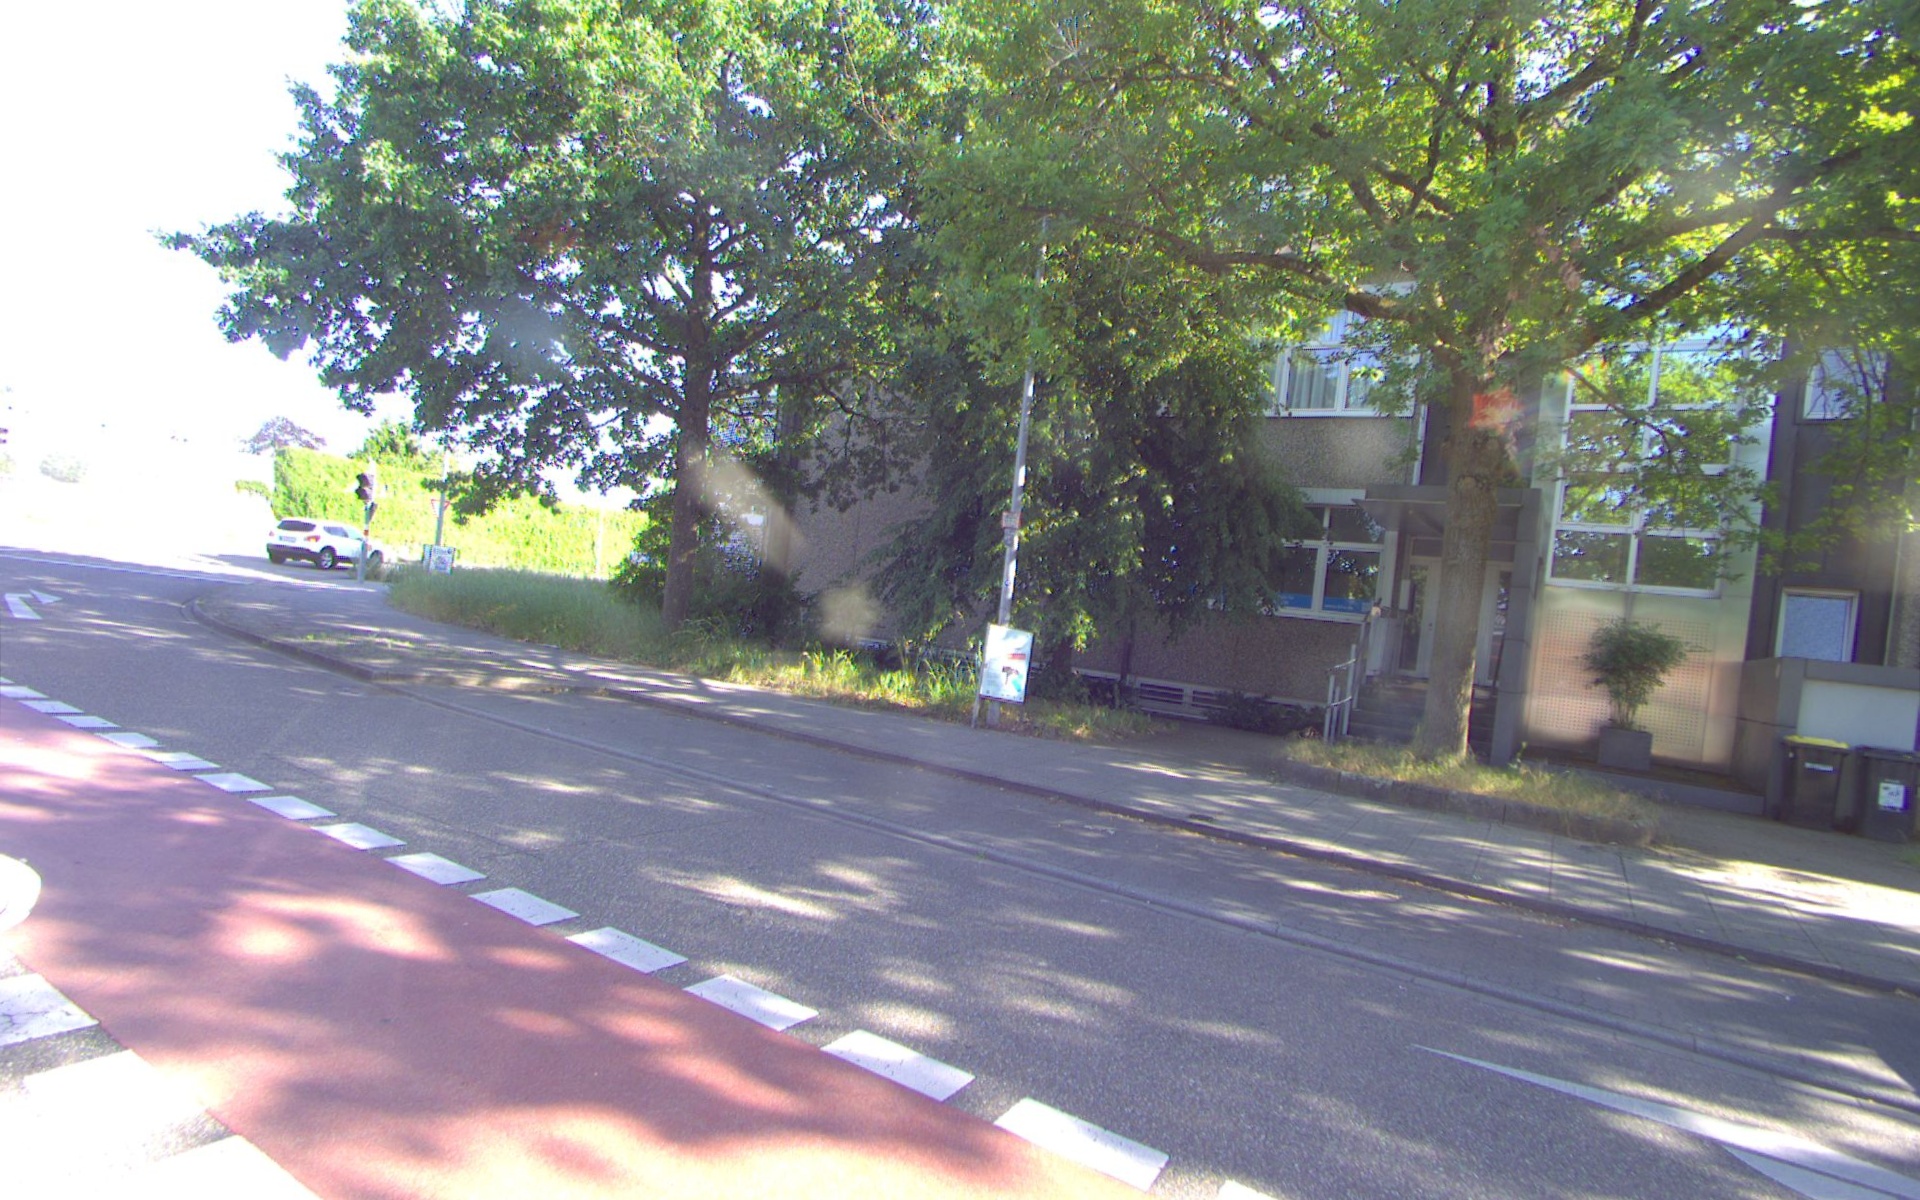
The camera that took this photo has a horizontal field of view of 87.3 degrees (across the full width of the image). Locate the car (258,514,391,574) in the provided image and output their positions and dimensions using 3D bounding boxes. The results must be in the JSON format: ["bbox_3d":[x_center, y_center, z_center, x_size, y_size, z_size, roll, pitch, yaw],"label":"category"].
[{"bbox_3d":[-21.378,-1.833,34.029,1.691,1.627,4.066,7,1,1],"label":"car"}]

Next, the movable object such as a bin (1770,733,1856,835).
[{"bbox_3d":[10.173,2.181,12.020,0.575,1.070,0.625,7,0,30],"label":"movable object such as a bin"}]

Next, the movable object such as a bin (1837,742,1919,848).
[{"bbox_3d":[10.762,2.250,11.727,0.605,1.075,0.634,6,0,30],"label":"movable object such as a bin"}]
